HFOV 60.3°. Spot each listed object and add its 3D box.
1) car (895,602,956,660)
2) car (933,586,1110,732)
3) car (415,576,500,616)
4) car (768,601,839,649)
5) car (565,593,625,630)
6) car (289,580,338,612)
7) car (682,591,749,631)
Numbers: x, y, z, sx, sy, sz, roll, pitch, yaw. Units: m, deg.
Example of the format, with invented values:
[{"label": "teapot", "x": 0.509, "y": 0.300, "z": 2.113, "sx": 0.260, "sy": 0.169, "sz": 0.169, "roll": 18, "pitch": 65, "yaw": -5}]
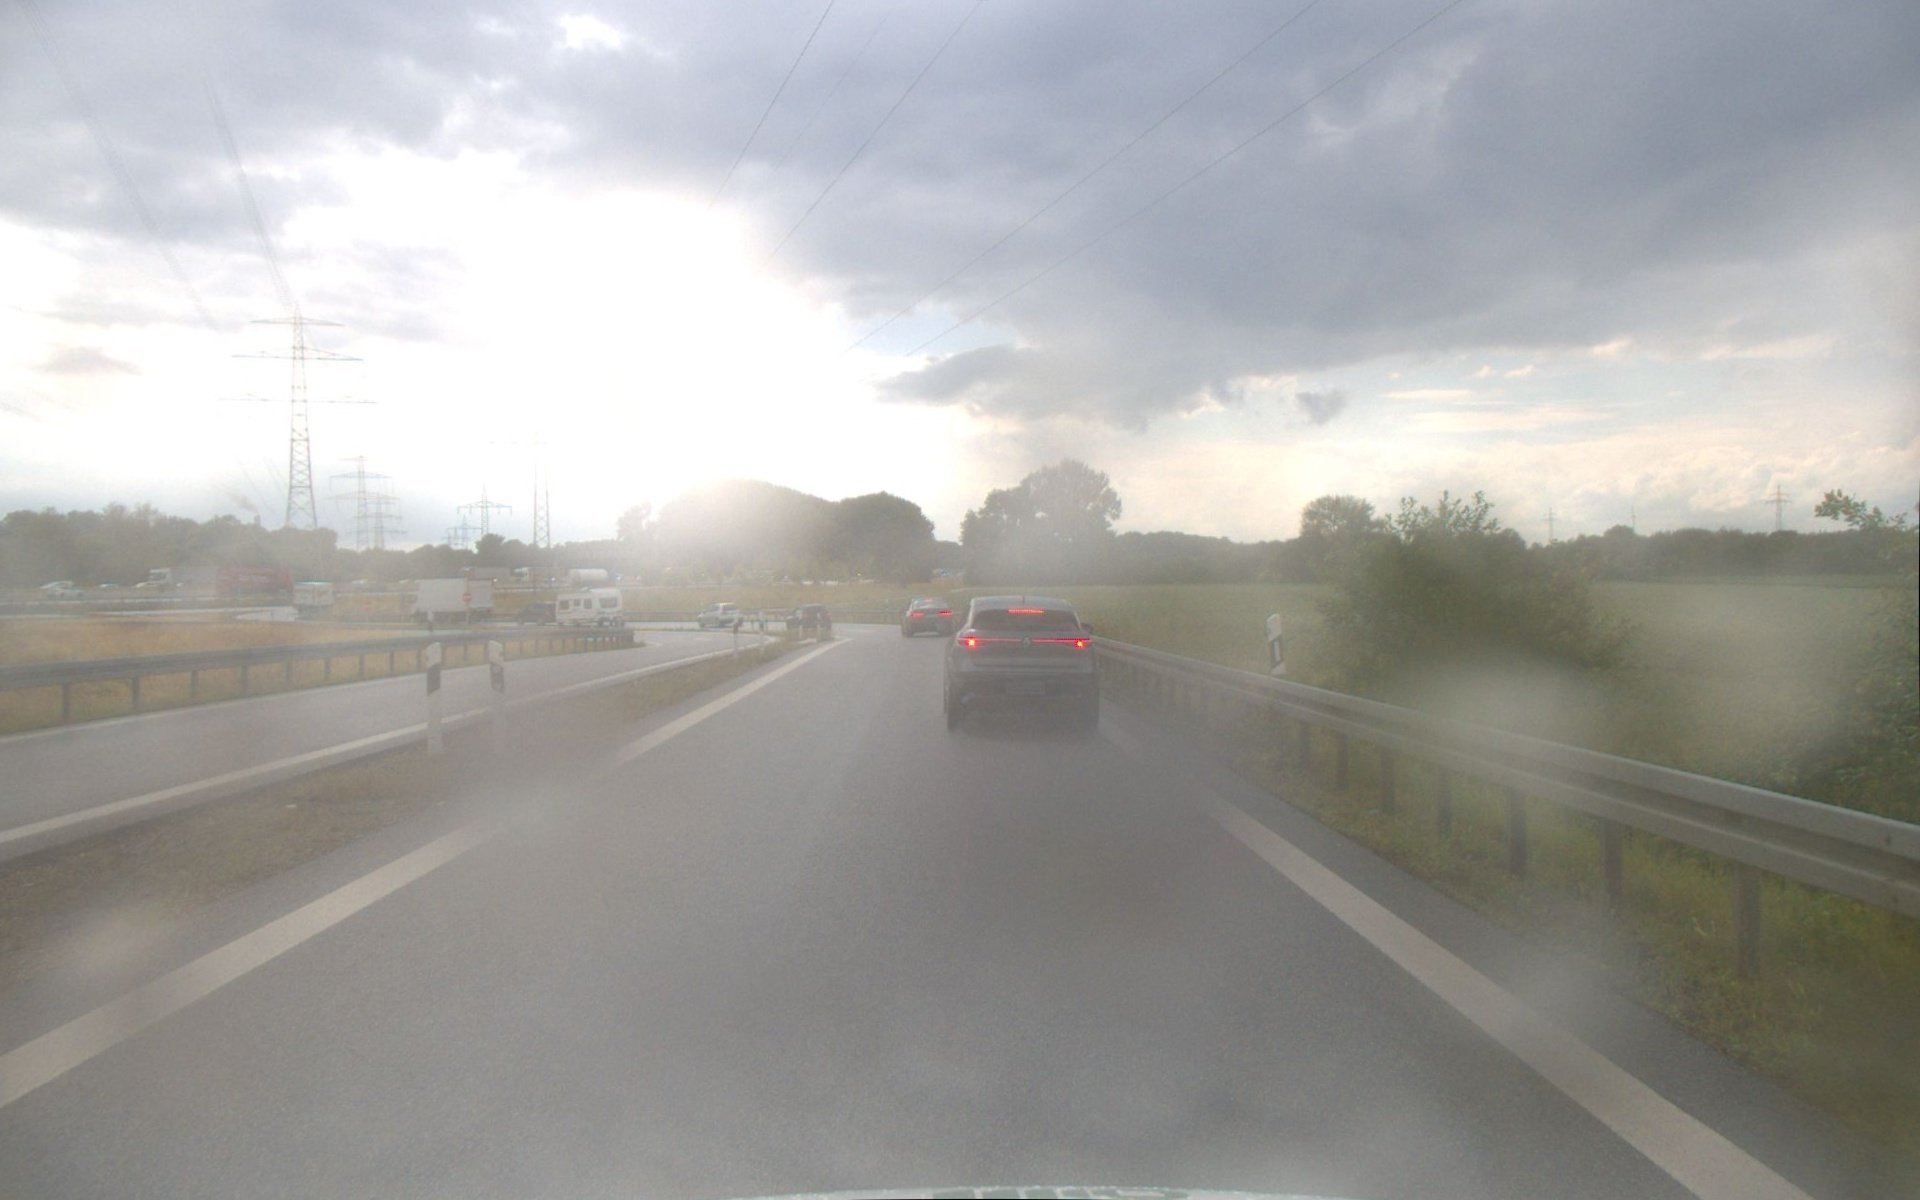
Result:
[{"label": "car", "x": -1.447, "y": 1.205, "z": 66.810, "sx": 2.080, "sy": 2.053, "sz": 5.529, "roll": -1, "pitch": 1, "yaw": -5}, {"label": "car", "x": 0.723, "y": 0.639, "z": 20.538, "sx": 1.952, "sy": 1.594, "sz": 4.150, "roll": 1, "pitch": 1, "yaw": 1}, {"label": "car", "x": -40.706, "y": -0.386, "z": 133.978, "sx": 7.071, "sy": 3.002, "sz": 3.132, "roll": 2, "pitch": 3, "yaw": 38}, {"label": "car", "x": -8.782, "y": 1.382, "z": 92.530, "sx": 2.323, "sy": 2.346, "sz": 5.086, "roll": -2, "pitch": 3, "yaw": -26}, {"label": "car", "x": -26.513, "y": 0.807, "z": 120.097, "sx": 2.335, "sy": 2.346, "sz": 5.059, "roll": -2, "pitch": 3, "yaw": -38}, {"label": "car", "x": -77.781, "y": -0.530, "z": 199.141, "sx": 3.319, "sy": 3.673, "sz": 9.031, "roll": -1, "pitch": 0, "yaw": -7}, {"label": "car", "x": -16.024, "y": 0.686, "z": 108.409, "sx": 2.332, "sy": 2.346, "sz": 5.065, "roll": -2, "pitch": 3, "yaw": -35}]
